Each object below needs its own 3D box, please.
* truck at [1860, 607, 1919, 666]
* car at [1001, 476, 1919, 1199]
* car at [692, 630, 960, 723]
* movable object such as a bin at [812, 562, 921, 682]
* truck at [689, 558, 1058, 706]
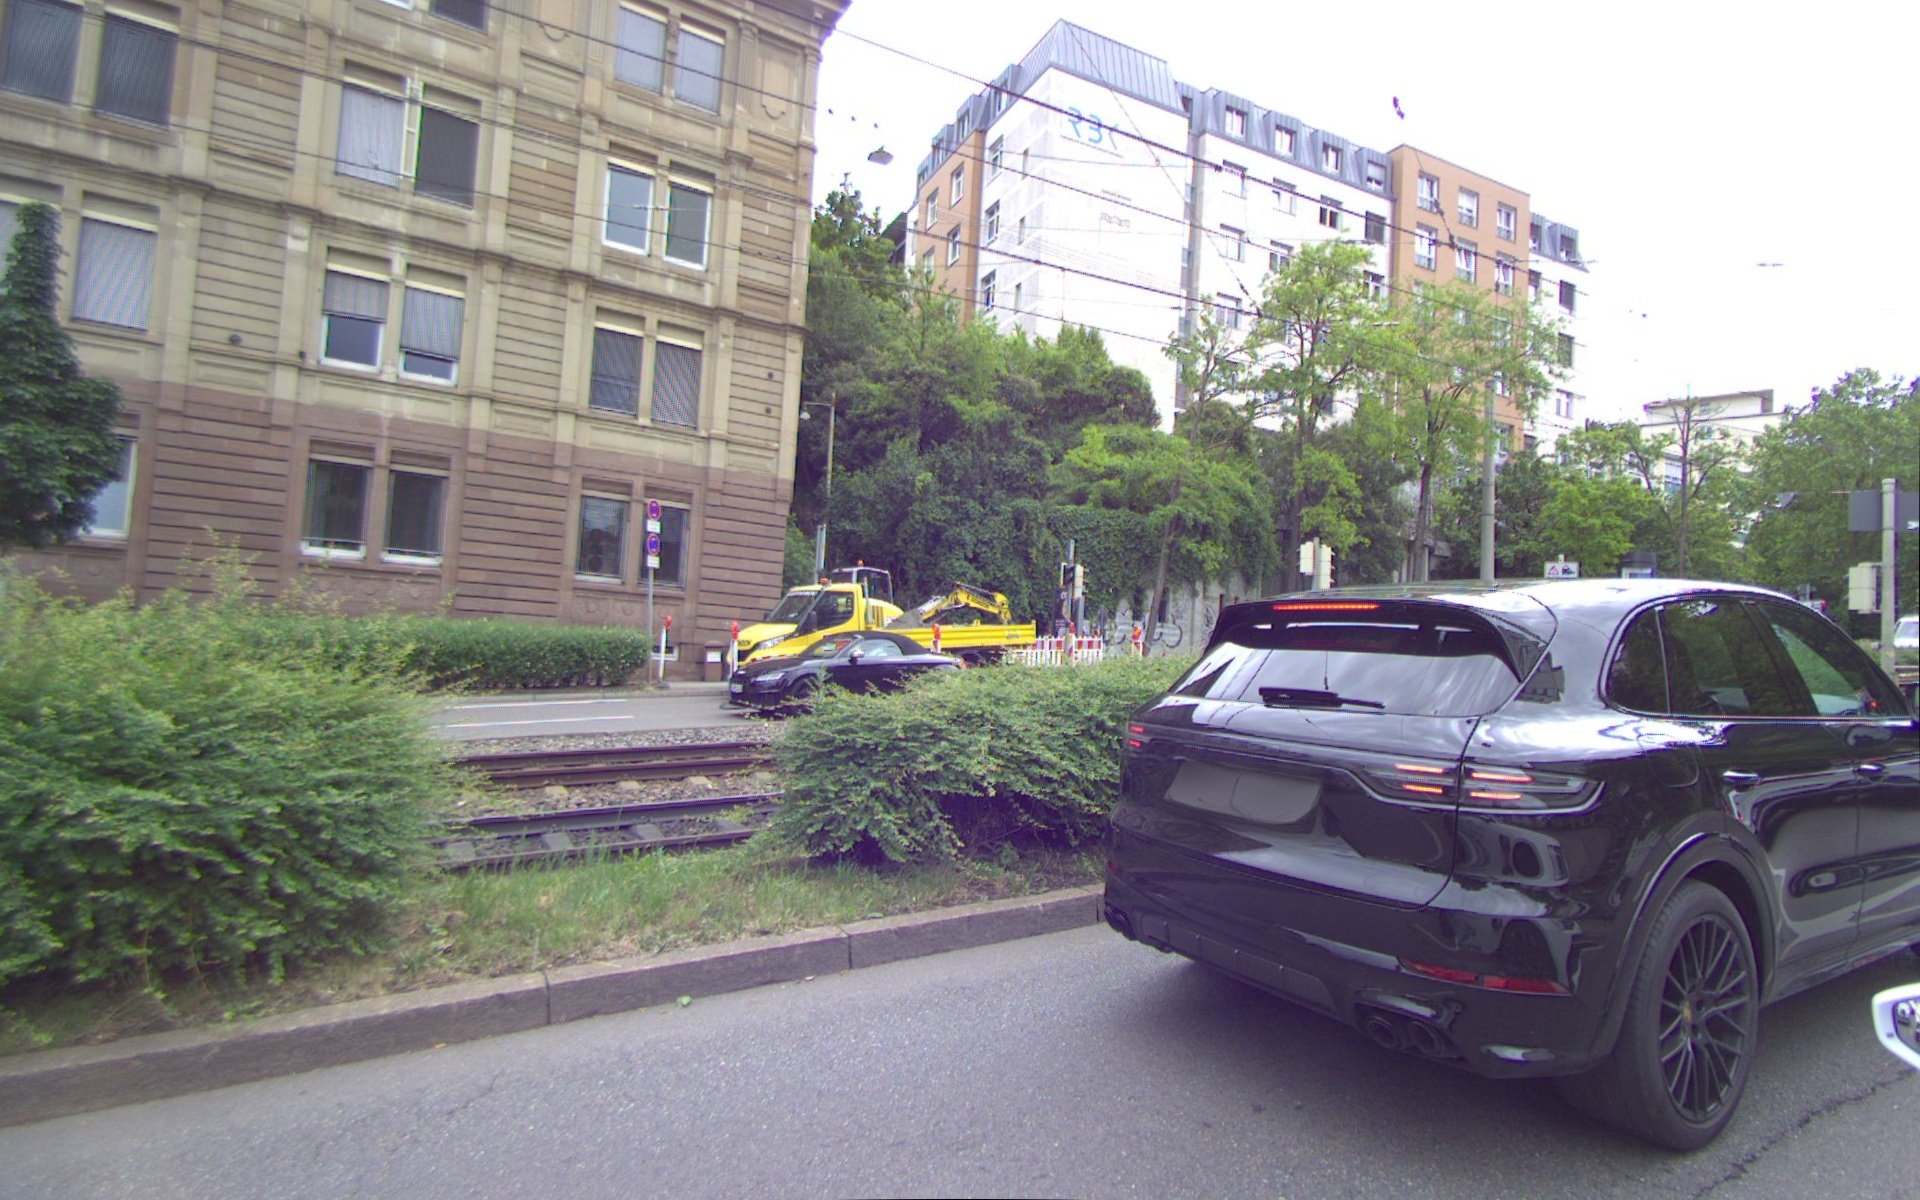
[{"bbox_3d":[39.281,1.557,40.531,5.957,2.198,2.412,3,0,-28],"label":"truck"},{"bbox_3d":[2.709,0.707,4.332,4.728,1.707,2.017,3,-2,-32],"label":"car"},{"bbox_3d":[-2.117,1.162,16.368,4.028,1.340,1.728,1,-2,-37],"label":"car"},{"bbox_3d":[-2.390,0.579,25.634,2.010,2.875,1.980,2,-2,-36],"label":"movable object such as a bin"},{"bbox_3d":[-1.661,0.796,20.908,7.078,2.542,2.901,5,-4,-32],"label":"truck"}]
